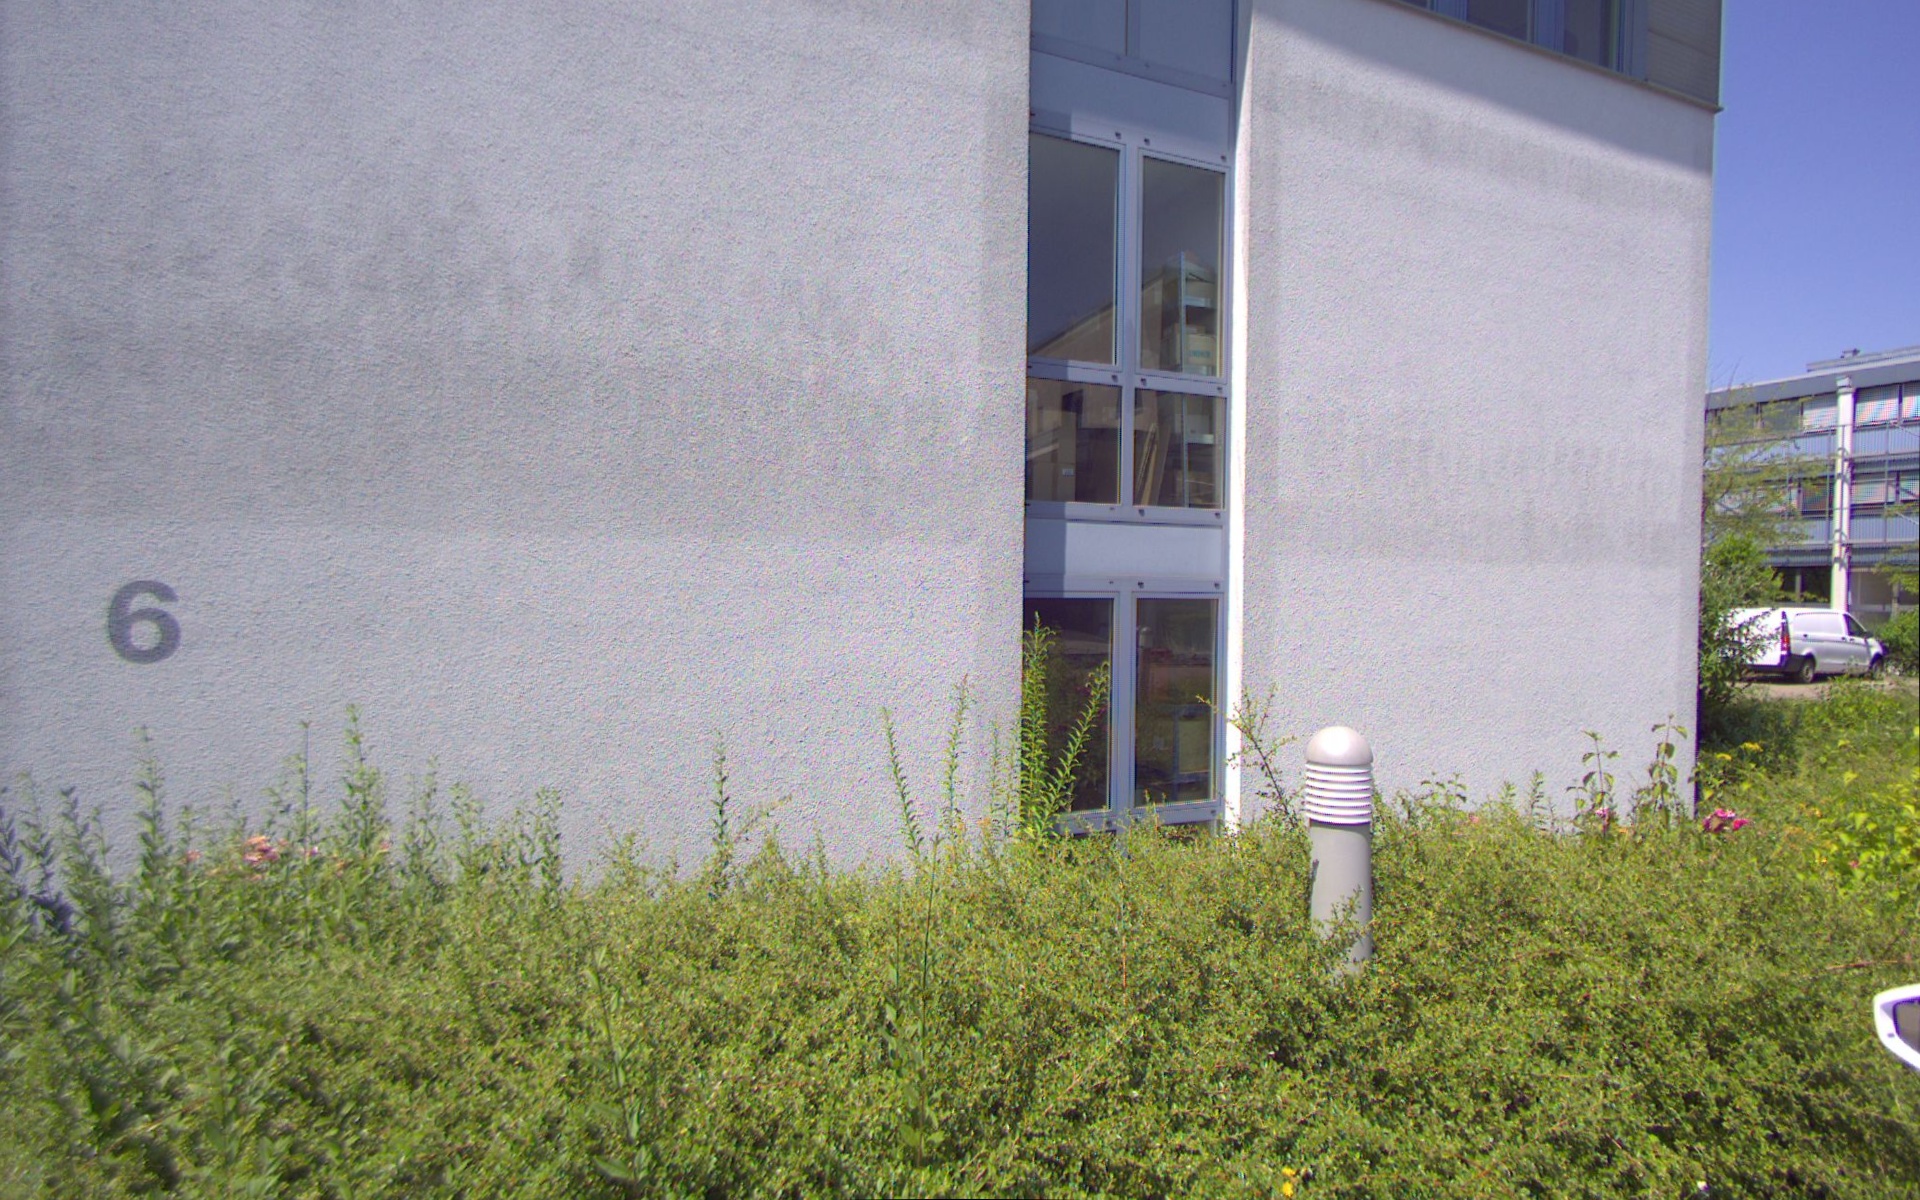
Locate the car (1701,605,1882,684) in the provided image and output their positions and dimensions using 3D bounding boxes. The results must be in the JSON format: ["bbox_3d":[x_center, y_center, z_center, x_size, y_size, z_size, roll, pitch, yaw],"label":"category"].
[{"bbox_3d":[21.873,1.099,26.390,4.739,1.916,1.876,0,0,-26],"label":"car"}]

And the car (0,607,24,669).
[{"bbox_3d":[-23.621,0.824,22.886,2.945,1.443,1.547,2,-1,-8],"label":"car"}]

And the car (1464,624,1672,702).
[{"bbox_3d":[13.222,1.300,21.810,4.426,1.492,1.850,1,0,-28],"label":"car"}]

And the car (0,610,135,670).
[{"bbox_3d":[-23.094,0.995,25.404,3.032,1.443,1.547,1,-1,-8],"label":"car"}]
